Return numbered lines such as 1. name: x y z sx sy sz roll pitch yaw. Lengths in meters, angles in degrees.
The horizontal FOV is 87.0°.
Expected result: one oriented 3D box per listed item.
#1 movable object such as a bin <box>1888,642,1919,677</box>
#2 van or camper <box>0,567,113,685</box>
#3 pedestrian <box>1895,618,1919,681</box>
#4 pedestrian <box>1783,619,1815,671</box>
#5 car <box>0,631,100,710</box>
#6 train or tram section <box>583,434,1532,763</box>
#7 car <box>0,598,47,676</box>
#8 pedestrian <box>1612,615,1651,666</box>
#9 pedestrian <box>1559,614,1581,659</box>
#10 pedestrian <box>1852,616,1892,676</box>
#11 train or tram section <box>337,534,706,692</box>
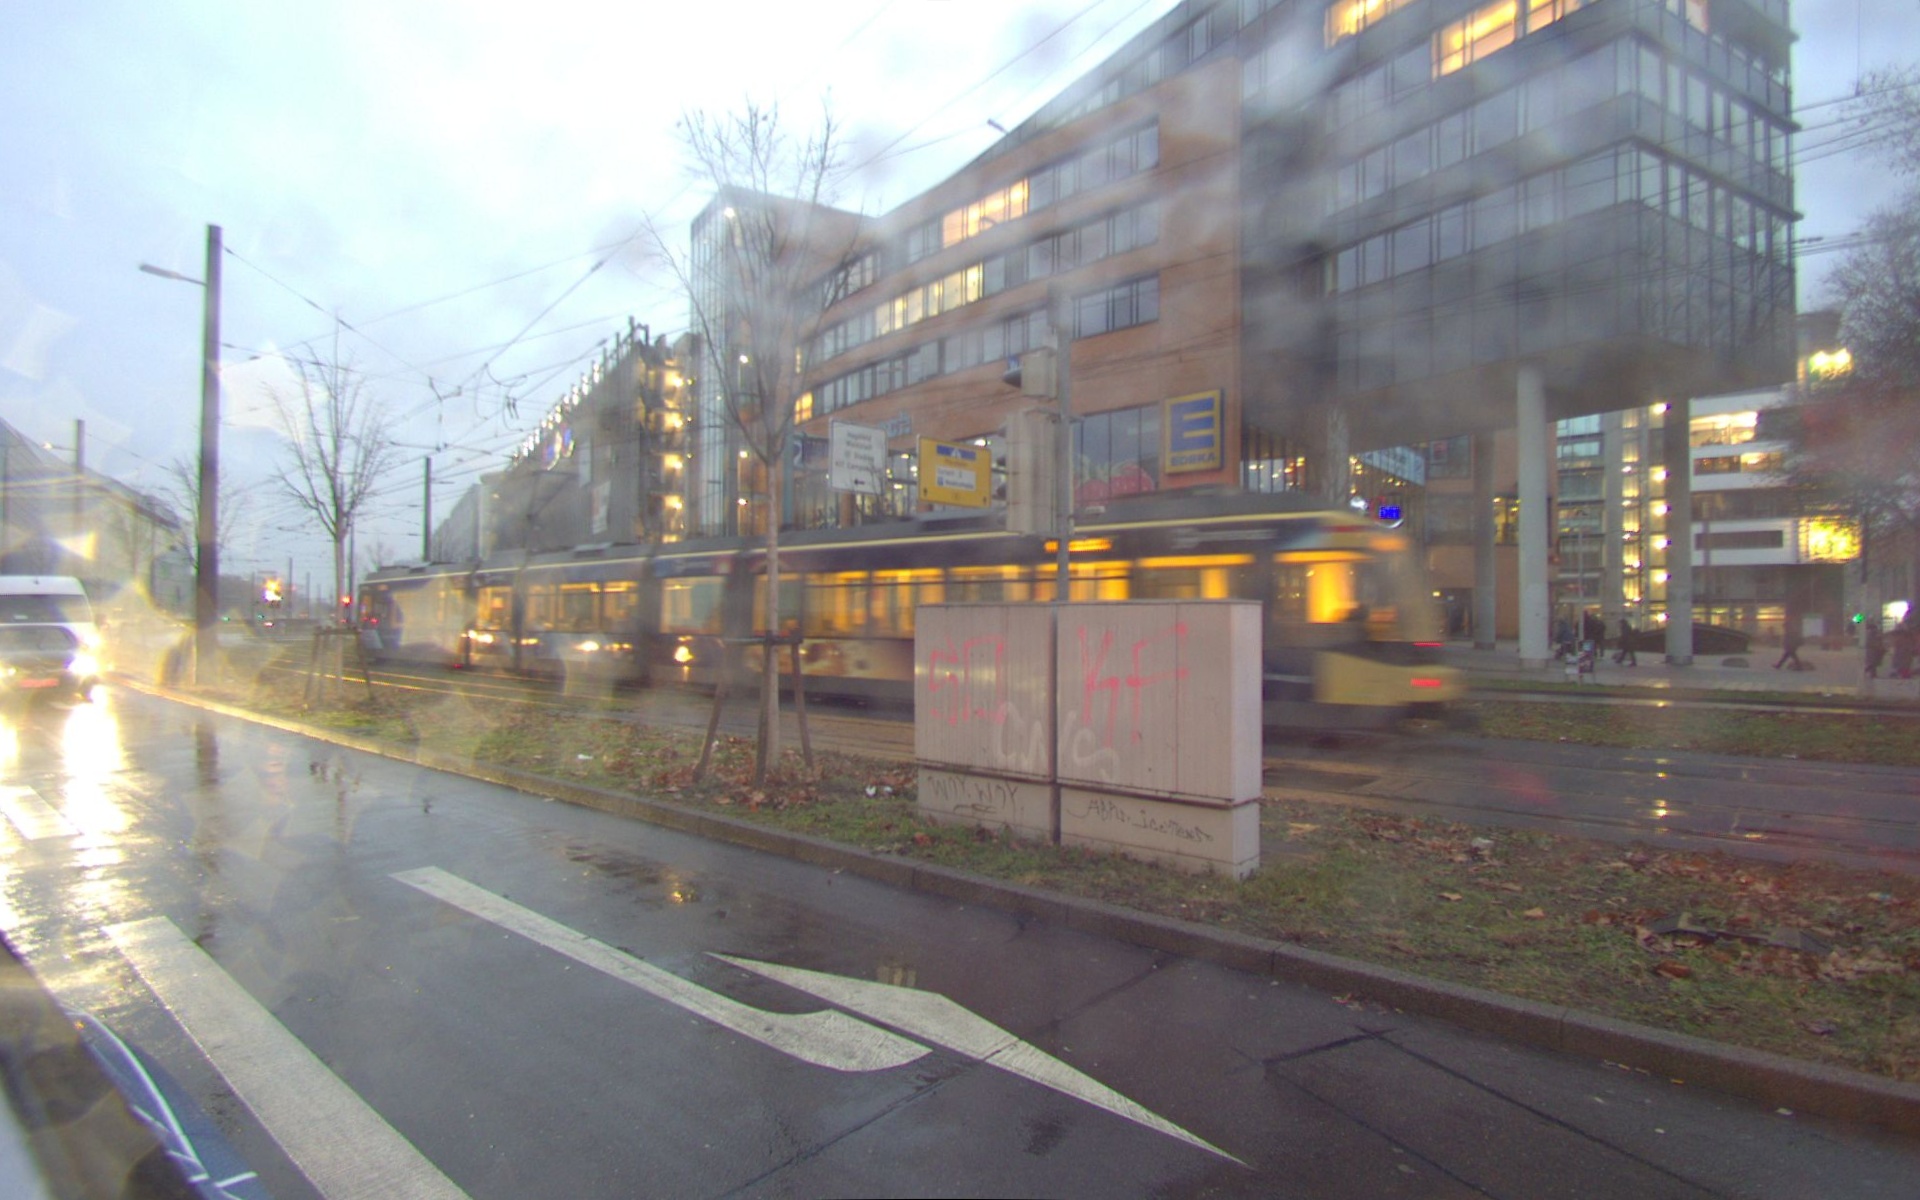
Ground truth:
1. movable object such as a bin: 28.483 1.784 30.530 0.566 1.043 0.647 1 -2 -42
2. van or camper: -22.598 0.626 24.567 5.894 2.551 2.126 -1 -2 40
3. pedestrian: 27.496 1.426 29.128 0.821 1.787 0.564 -1 -2 42
4. pedestrian: 28.096 1.493 33.886 0.784 1.725 0.647 -1 -2 39
5. car: -17.761 1.296 19.236 4.057 1.355 1.735 -3 -3 43
6. train or tram section: -0.645 0.155 18.552 19.202 3.642 2.835 -1 -2 41
7. car: -37.719 1.434 39.629 5.808 2.885 2.102 -1 -2 40
8. pedestrian: 23.111 1.403 34.827 0.994 1.725 0.787 1 -2 -34
9. pedestrian: 22.527 1.341 37.381 0.674 1.620 0.449 -1 -2 33
10. pedestrian: 28.043 1.398 31.104 0.859 1.818 0.790 1 -2 -42
11. train or tram section: -14.631 0.500 31.307 20.074 3.642 2.832 -1 -2 44
